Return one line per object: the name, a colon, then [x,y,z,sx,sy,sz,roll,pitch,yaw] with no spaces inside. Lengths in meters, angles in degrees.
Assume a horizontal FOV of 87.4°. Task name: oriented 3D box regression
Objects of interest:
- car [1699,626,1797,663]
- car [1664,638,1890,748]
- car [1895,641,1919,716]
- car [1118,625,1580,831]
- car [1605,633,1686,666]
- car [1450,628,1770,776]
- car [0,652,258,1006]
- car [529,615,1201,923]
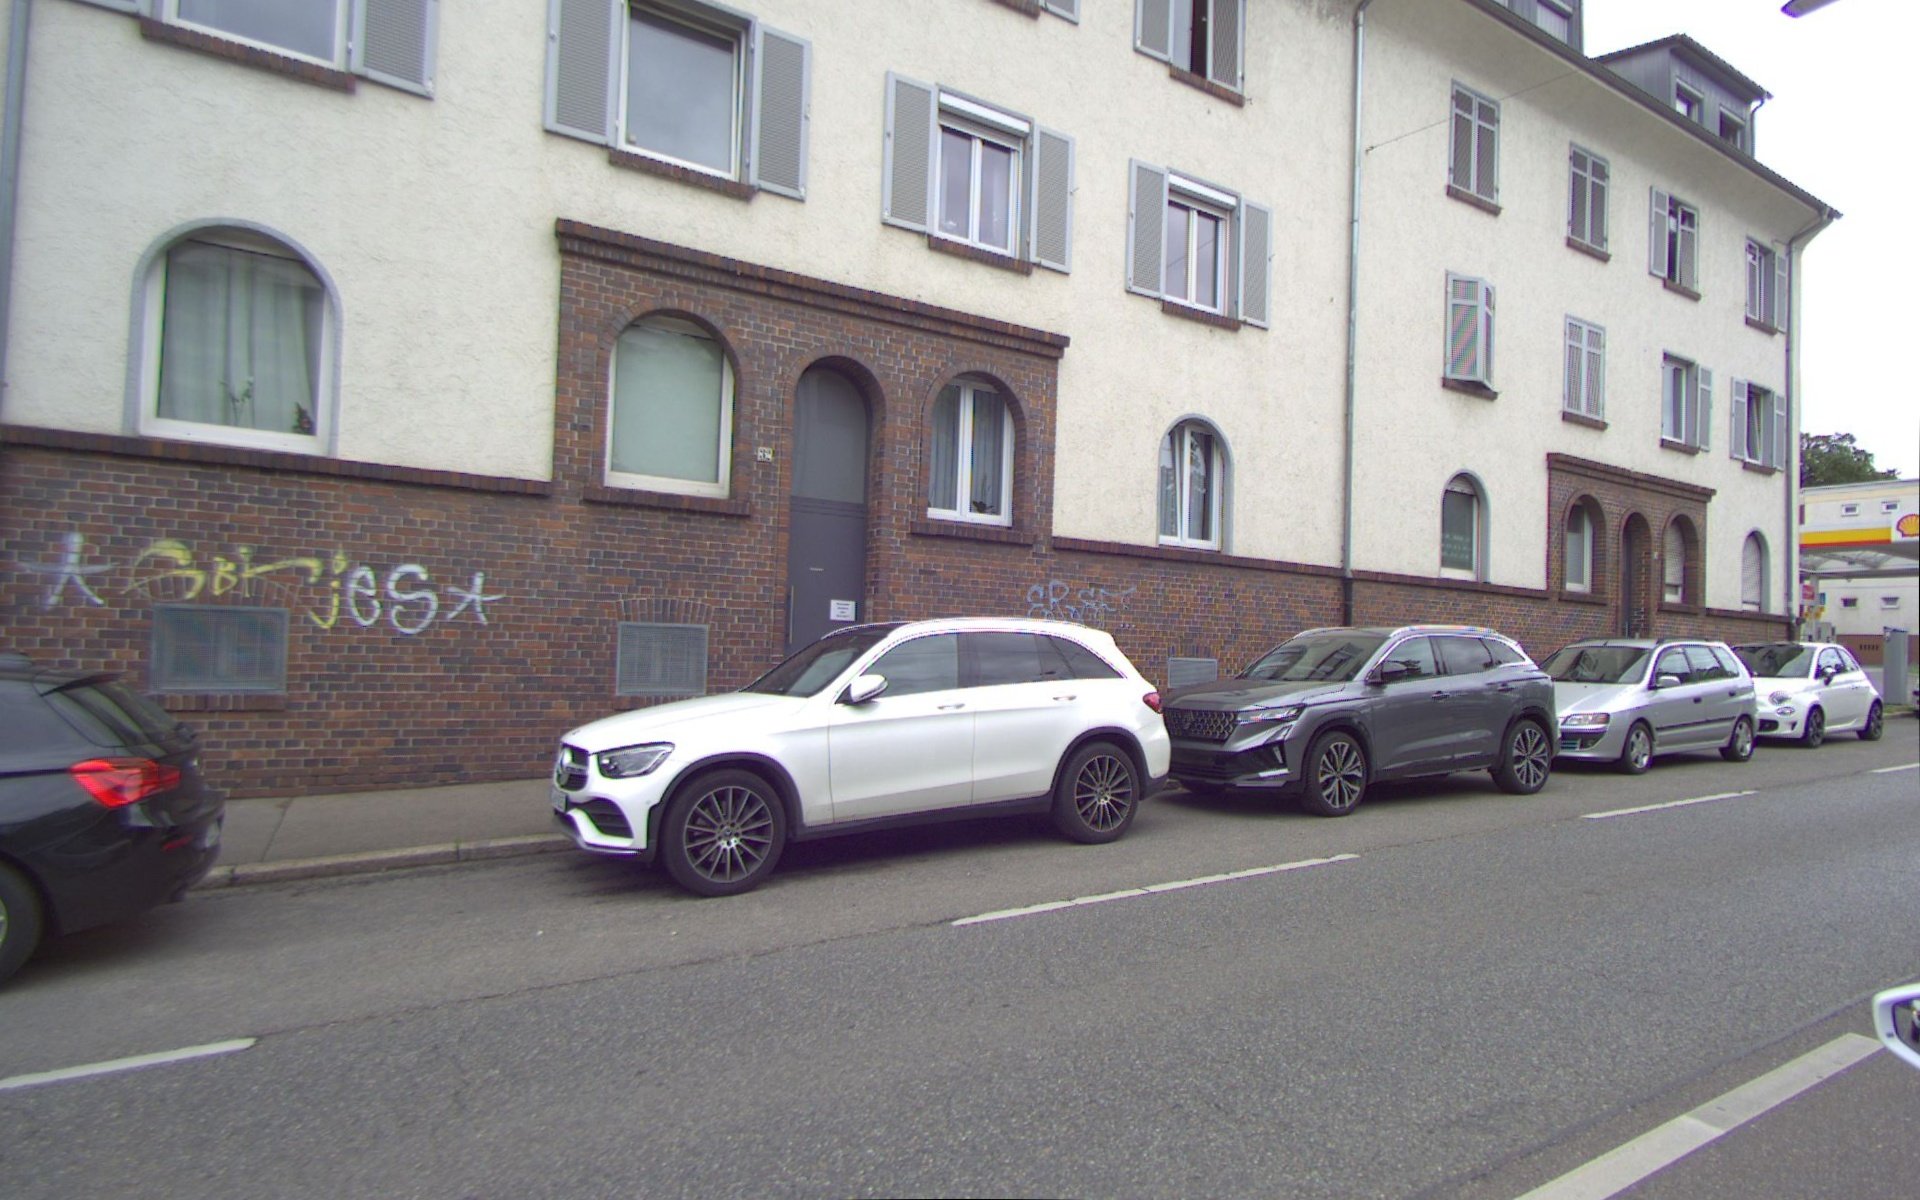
car: [33.083,1.859,42.153,4.365,1.439,1.789,1,-1,-31]
car: [12.479,1.326,15.314,3.562,1.494,1.540,1,-2,-31]
car: [20.375,1.544,19.984,3.621,1.444,1.612,1,-2,-30]
car: [3.834,1.066,9.735,4.445,1.620,1.720,1,-2,-28]
car: [32.214,2.302,47.202,3.594,1.439,1.789,1,-1,-30]
car: [8.140,1.190,12.519,4.035,1.578,1.719,1,-4,-31]
car: [-5.609,0.980,4.263,4.143,1.448,1.719,1,-2,-31]
car: [-0.559,0.967,7.368,4.590,1.642,1.836,1,-2,-31]
